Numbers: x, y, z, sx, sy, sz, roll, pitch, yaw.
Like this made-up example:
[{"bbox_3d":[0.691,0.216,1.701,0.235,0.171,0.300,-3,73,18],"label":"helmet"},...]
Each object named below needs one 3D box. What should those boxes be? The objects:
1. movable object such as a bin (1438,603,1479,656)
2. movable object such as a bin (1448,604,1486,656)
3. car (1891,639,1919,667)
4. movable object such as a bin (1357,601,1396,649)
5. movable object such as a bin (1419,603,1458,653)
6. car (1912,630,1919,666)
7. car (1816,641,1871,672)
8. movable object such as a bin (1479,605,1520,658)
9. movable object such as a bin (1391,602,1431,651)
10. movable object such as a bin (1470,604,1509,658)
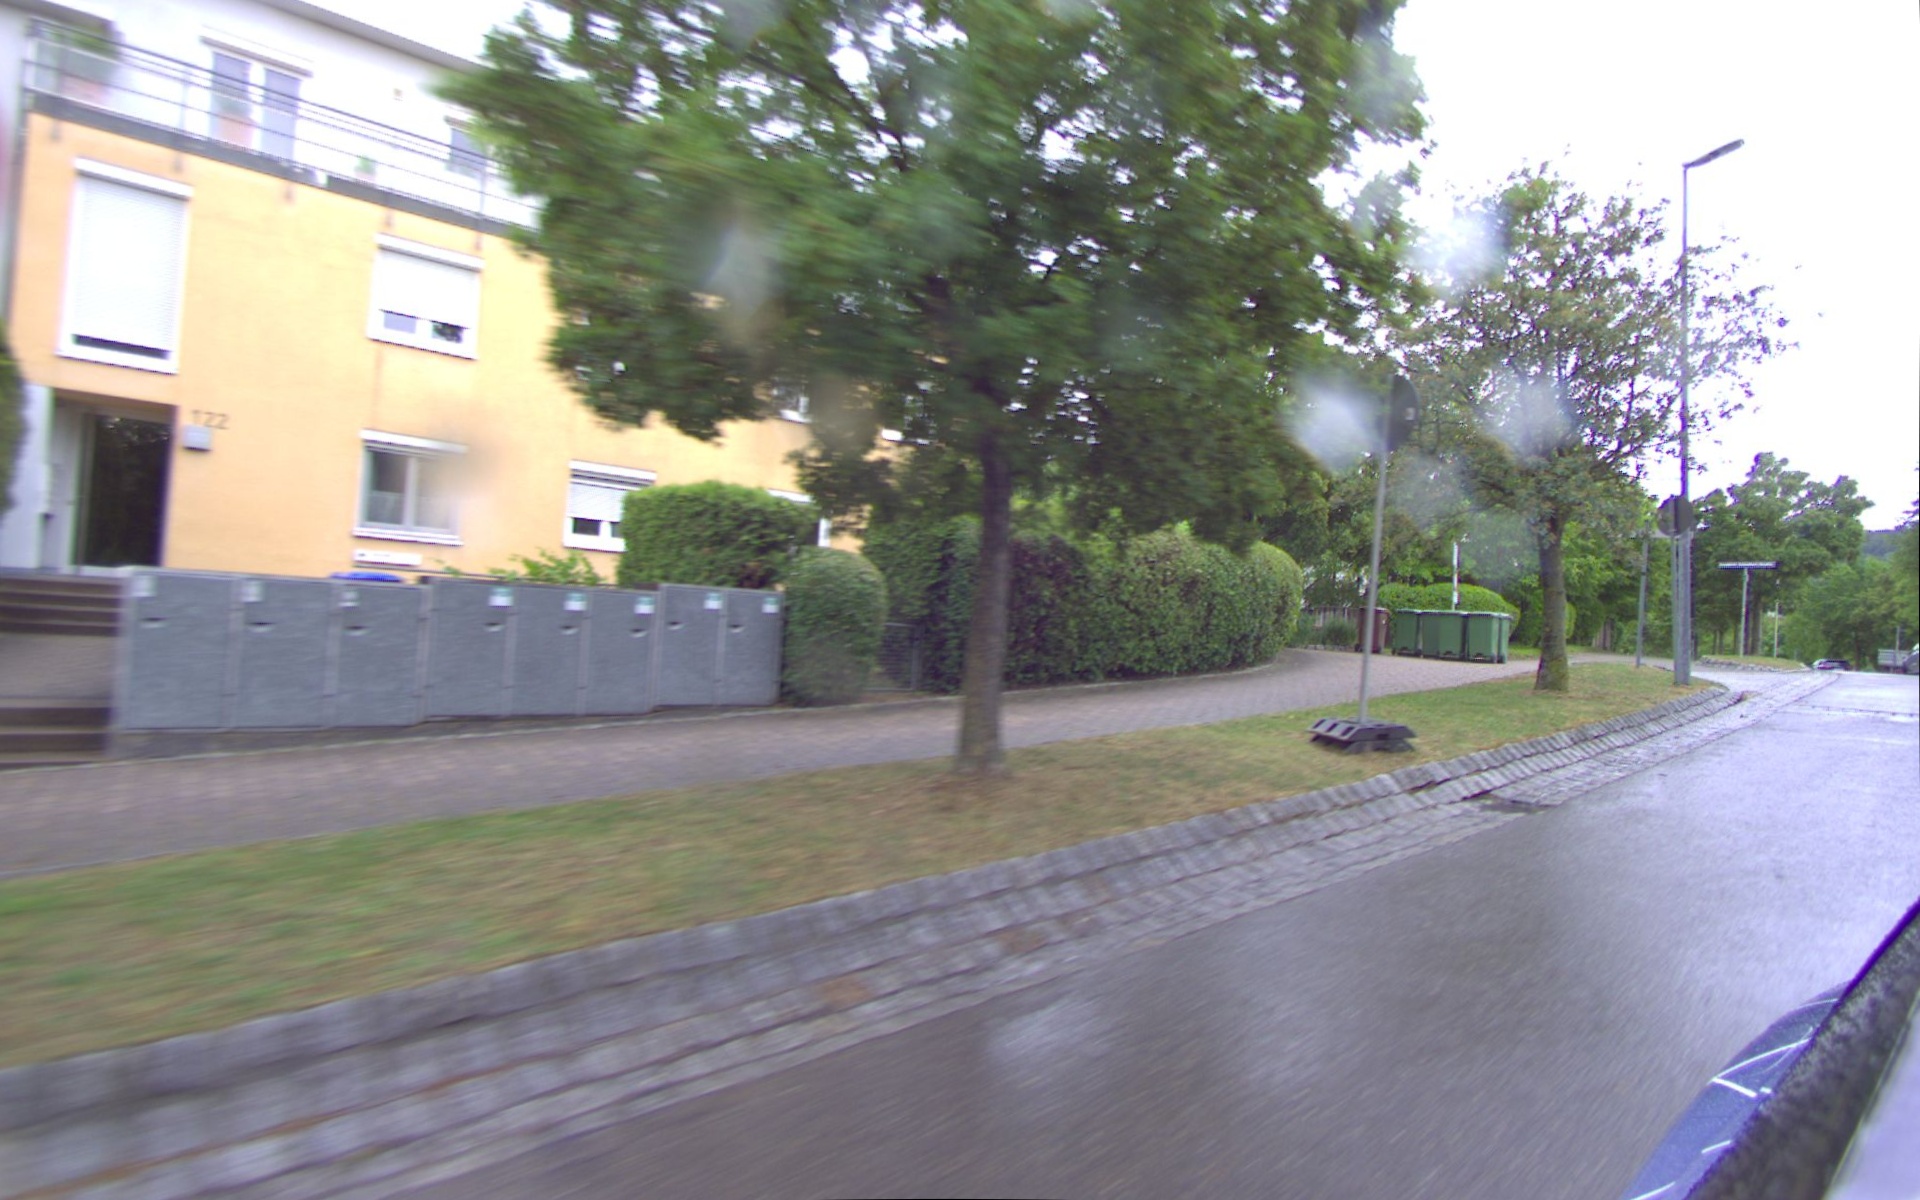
[{"bbox_3d":[10.637,0.634,21.593,0.595,1.086,0.685,2,-1,43],"label":"movable object such as a bin"},{"bbox_3d":[11.104,0.658,22.152,0.542,1.088,0.685,2,-1,43],"label":"movable object such as a bin"},{"bbox_3d":[46.800,2.608,49.184,1.722,1.297,3.287,2,-1,33],"label":"car"},{"bbox_3d":[9.686,0.577,23.552,0.603,1.068,0.685,2,-1,43],"label":"movable object such as a bin"},{"bbox_3d":[10.661,0.628,22.559,0.577,1.080,0.685,2,-1,43],"label":"movable object such as a bin"},{"bbox_3d":[41.884,2.055,42.699,1.840,1.572,3.939,2,-2,34],"label":"car"},{"bbox_3d":[55.722,3.595,63.894,1.947,1.628,3.952,2,-4,32],"label":"car"},{"bbox_3d":[11.566,0.680,21.681,0.600,1.088,0.685,2,-1,43],"label":"movable object such as a bin"},{"bbox_3d":[10.262,0.609,23.034,0.603,1.068,0.685,2,-1,43],"label":"movable object such as a bin"},{"bbox_3d":[11.059,0.645,21.129,0.542,1.087,0.657,2,-1,43],"label":"movable object such as a bin"}]
